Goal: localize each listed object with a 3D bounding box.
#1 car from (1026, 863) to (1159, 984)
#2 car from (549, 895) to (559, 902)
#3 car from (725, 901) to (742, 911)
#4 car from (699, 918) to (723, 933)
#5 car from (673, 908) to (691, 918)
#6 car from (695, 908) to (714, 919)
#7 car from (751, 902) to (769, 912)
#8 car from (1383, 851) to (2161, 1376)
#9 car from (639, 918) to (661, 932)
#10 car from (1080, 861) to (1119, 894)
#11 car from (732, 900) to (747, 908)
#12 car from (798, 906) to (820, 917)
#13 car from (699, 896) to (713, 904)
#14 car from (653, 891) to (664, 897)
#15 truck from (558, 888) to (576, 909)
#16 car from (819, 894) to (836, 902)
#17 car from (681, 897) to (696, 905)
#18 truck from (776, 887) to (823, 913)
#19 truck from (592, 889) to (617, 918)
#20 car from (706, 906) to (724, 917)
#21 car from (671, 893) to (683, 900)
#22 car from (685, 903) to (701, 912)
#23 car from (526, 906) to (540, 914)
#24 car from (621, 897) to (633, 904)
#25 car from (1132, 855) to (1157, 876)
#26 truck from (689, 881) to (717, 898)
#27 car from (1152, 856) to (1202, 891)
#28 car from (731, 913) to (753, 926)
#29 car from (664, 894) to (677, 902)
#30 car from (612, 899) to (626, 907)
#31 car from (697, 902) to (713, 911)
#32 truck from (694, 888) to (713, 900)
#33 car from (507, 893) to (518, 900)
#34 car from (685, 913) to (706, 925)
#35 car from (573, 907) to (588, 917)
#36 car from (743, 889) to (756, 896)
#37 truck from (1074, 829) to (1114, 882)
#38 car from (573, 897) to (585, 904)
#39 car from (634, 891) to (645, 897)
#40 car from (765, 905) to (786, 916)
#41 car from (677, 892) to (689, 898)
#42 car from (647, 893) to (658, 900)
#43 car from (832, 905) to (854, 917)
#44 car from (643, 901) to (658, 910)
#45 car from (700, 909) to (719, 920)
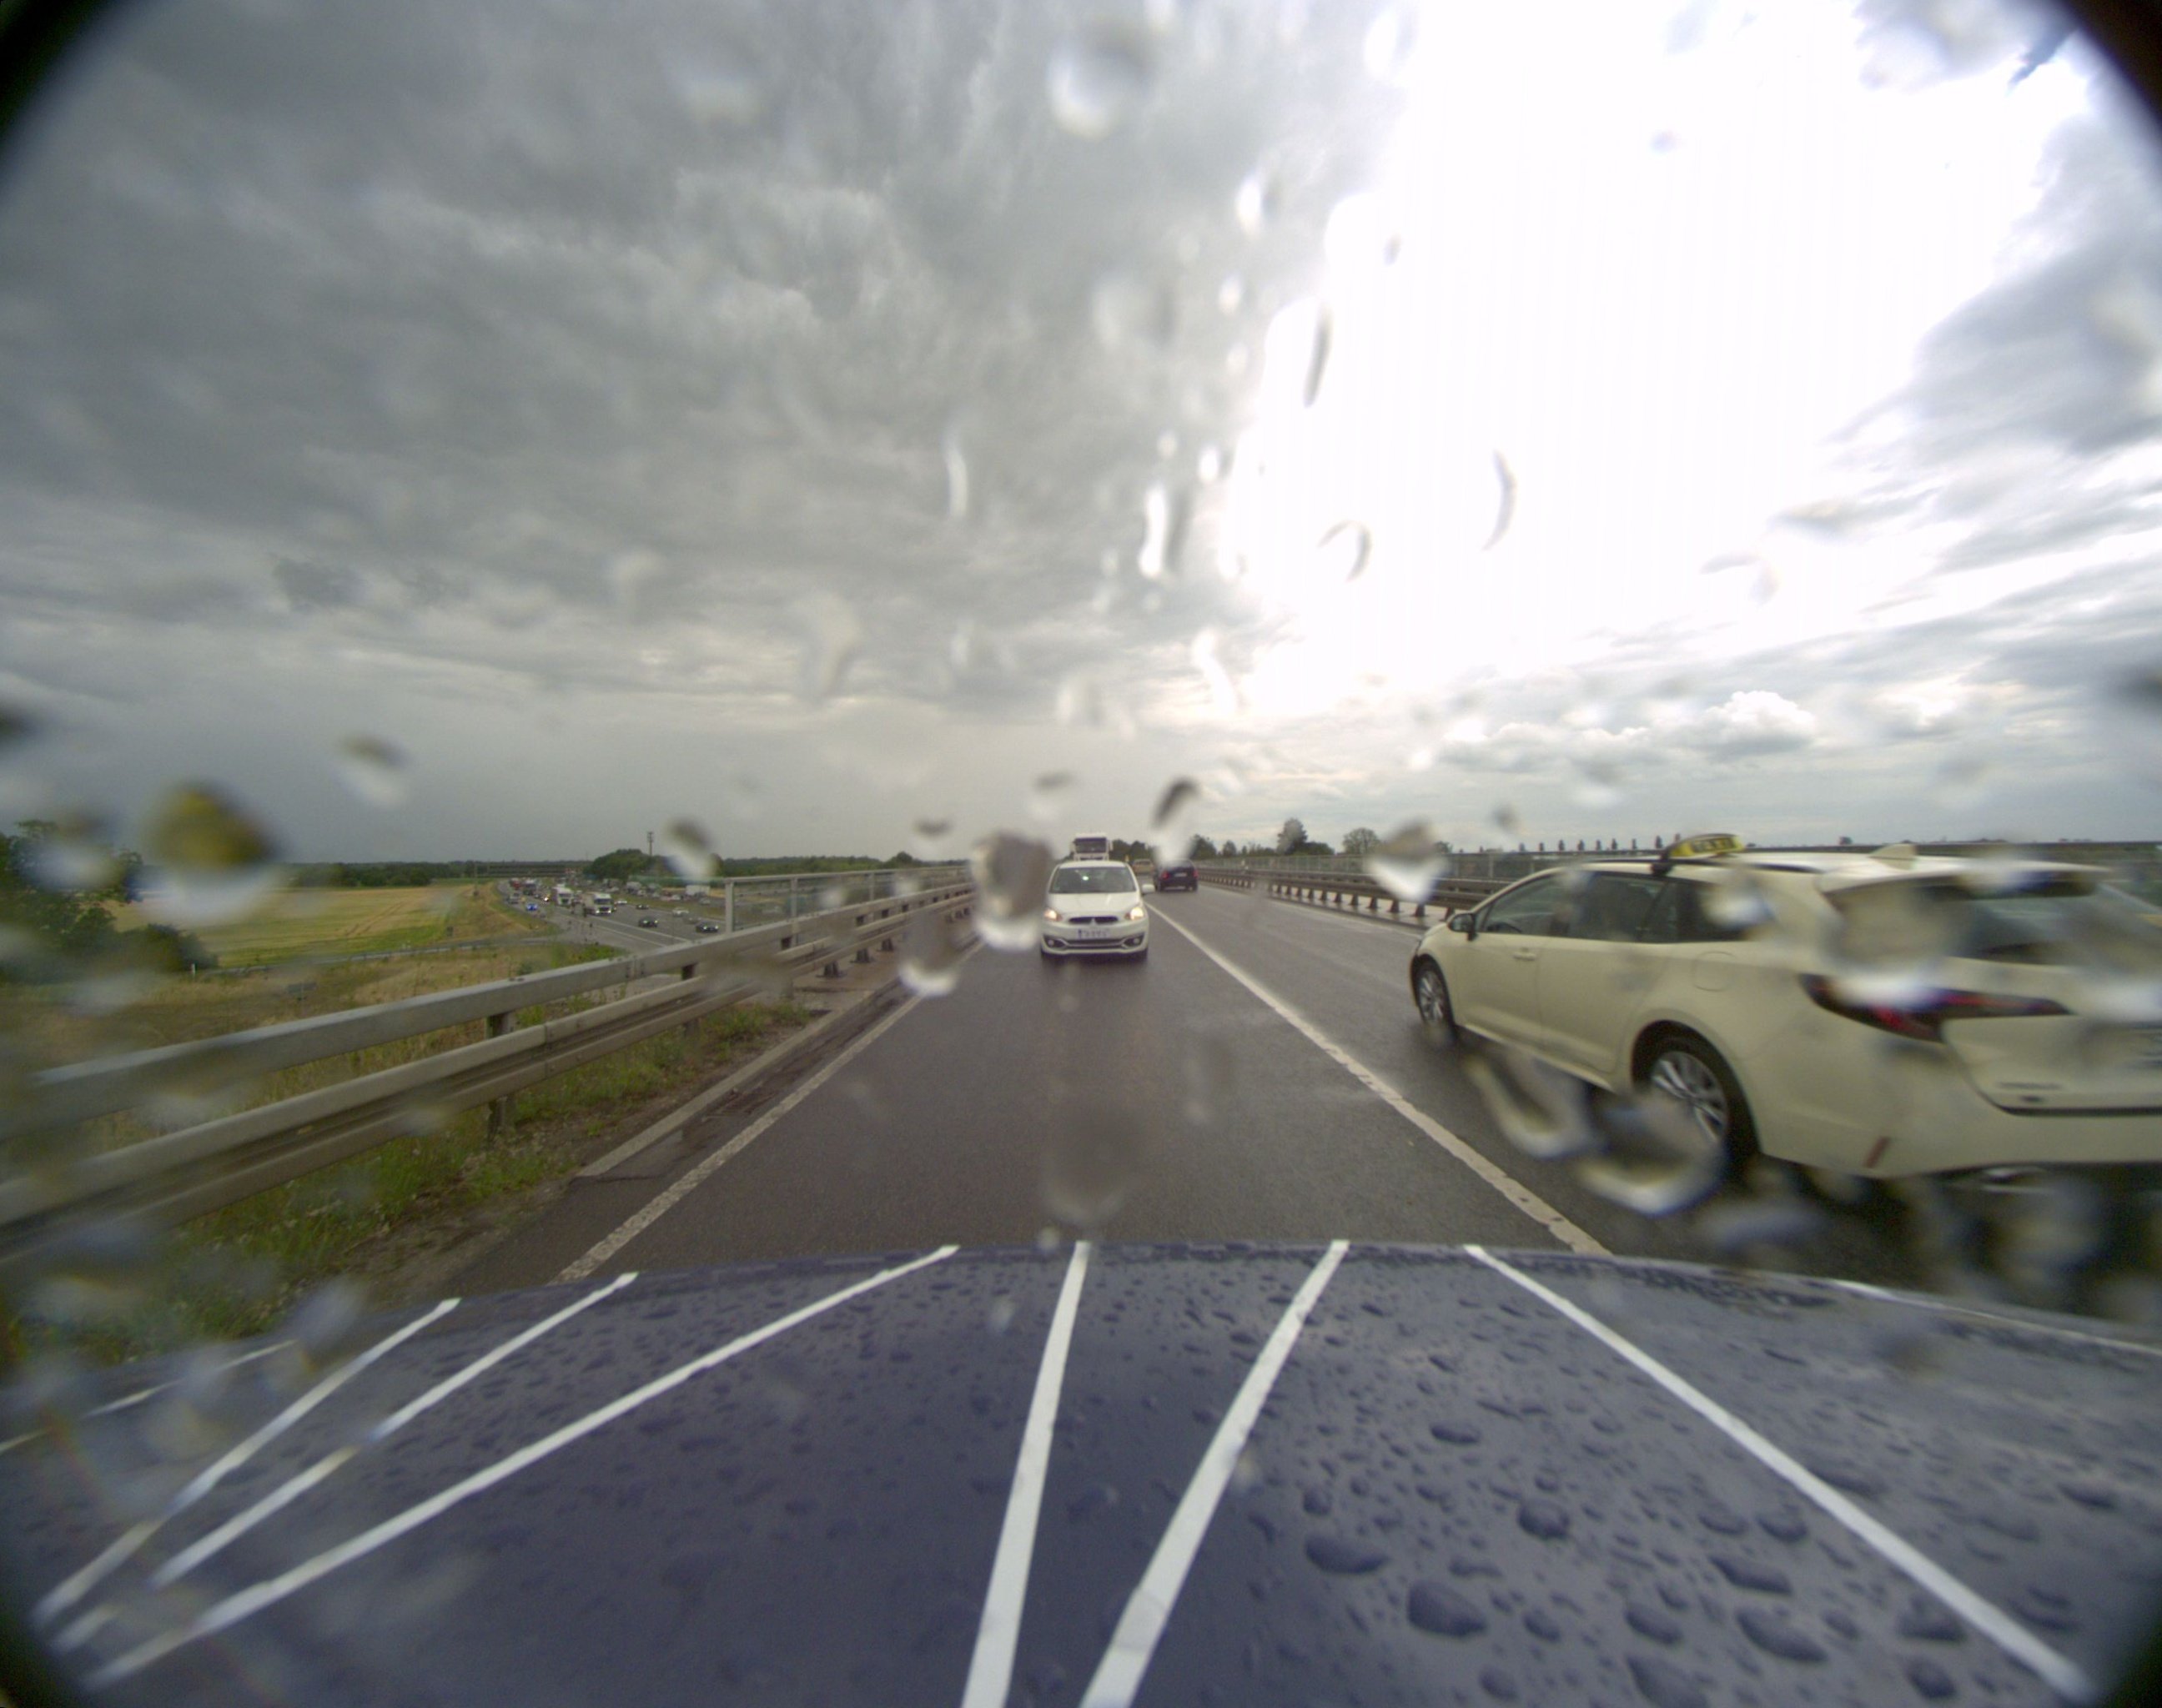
[{"bbox_3d":[0.168,0.937,12.001,1.675,1.476,4.129,-2,0,0],"label":"car"},{"bbox_3d":[-138.495,11.806,199.649,1.860,1.659,4.712,-2,0,-40],"label":"car"},{"bbox_3d":[-70.362,10.482,153.648,1.860,1.659,4.712,-2,0,-40],"label":"car"},{"bbox_3d":[-51.130,9.856,104.885,1.860,1.659,4.712,-2,0,-40],"label":"car"},{"bbox_3d":[-73.726,10.896,140.425,1.860,1.659,4.712,-2,0,-40],"label":"car"},{"bbox_3d":[-68.577,10.804,138.315,1.860,1.659,4.712,-2,0,-40],"label":"car"},{"bbox_3d":[-63.205,10.396,149.520,1.860,1.659,4.712,-2,0,-40],"label":"car"},{"bbox_3d":[3.623,0.781,4.561,1.814,1.500,4.611,-2,0,1],"label":"car"},{"bbox_3d":[-64.184,10.515,113.129,1.860,1.659,4.712,-2,0,-40],"label":"car"},{"bbox_3d":[0.832,1.036,35.480,1.675,1.366,4.129,-2,0,0],"label":"car"},{"bbox_3d":[-74.243,10.830,165.128,1.860,1.659,4.712,-2,0,-40],"label":"car"},{"bbox_3d":[-47.234,9.947,132.078,1.860,1.659,4.712,-2,0,-42],"label":"car"},{"bbox_3d":[-89.042,10.904,180.402,1.860,1.659,4.712,-2,0,-40],"label":"car"},{"bbox_3d":[-122.383,11.590,219.928,1.860,1.659,4.712,-2,0,-40],"label":"car"},{"bbox_3d":[-122.023,10.405,180.311,2.799,4.590,12.725,-3,0,-37],"label":"truck"},{"bbox_3d":[-58.255,10.171,174.516,1.860,1.659,4.712,-2,0,-40],"label":"car"},{"bbox_3d":[-91.246,10.920,176.632,1.860,1.659,4.712,-2,0,-40],"label":"car"},{"bbox_3d":[-54.876,8.781,147.698,3.611,4.510,15.590,-3,0,-39],"label":"truck"},{"bbox_3d":[-89.988,9.263,143.443,2.799,4.871,12.725,-3,0,-37],"label":"truck"},{"bbox_3d":[-68.255,10.726,141.507,1.860,1.659,4.712,-2,0,-40],"label":"car"},{"bbox_3d":[-107.251,11.277,201.765,1.860,1.659,4.712,-2,0,-40],"label":"car"},{"bbox_3d":[-78.523,10.833,153.611,1.860,1.659,4.712,-2,0,-40],"label":"car"},{"bbox_3d":[-114.248,11.614,158.364,1.818,1.427,4.712,-2,0,-41],"label":"car"},{"bbox_3d":[-111.474,11.430,186.489,1.860,1.659,4.712,-2,0,-40],"label":"car"},{"bbox_3d":[5.251,0.947,63.377,1.718,1.508,3.859,-2,1,0],"label":"car"},{"bbox_3d":[-106.621,9.874,214.080,3.611,4.510,15.590,-3,0,-39],"label":"truck"},{"bbox_3d":[4.327,0.832,34.847,1.701,1.424,4.323,-2,0,0],"label":"car"},{"bbox_3d":[-52.762,10.179,118.318,1.860,1.659,4.712,-2,0,-40],"label":"car"},{"bbox_3d":[-104.390,11.149,193.109,1.860,1.659,4.712,-2,0,-40],"label":"car"},{"bbox_3d":[-107.299,11.332,176.410,1.860,1.659,4.712,-2,0,-40],"label":"car"},{"bbox_3d":[-76.933,10.780,155.401,1.860,1.659,4.712,-2,0,-40],"label":"car"},{"bbox_3d":[-98.184,10.323,197.736,2.216,2.948,9.284,-3,0,-40],"label":"truck"},{"bbox_3d":[-148.071,11.135,197.950,1.860,1.659,4.712,-2,0,-40],"label":"car"},{"bbox_3d":[-61.615,10.355,121.320,1.860,1.659,4.712,-2,0,-40],"label":"car"},{"bbox_3d":[-99.876,11.598,151.566,1.860,1.659,4.712,-2,0,-40],"label":"car"},{"bbox_3d":[-94.428,10.952,216.414,1.860,1.659,4.712,-2,0,-40],"label":"car"},{"bbox_3d":[0.860,-0.032,56.552,2.631,3.536,8.475,-2,2,-1],"label":"truck"},{"bbox_3d":[-124.609,11.601,188.741,1.860,1.659,4.712,-2,0,-40],"label":"car"},{"bbox_3d":[-129.770,11.767,223.334,1.860,1.659,4.712,-2,0,-40],"label":"car"},{"bbox_3d":[-54.185,10.075,134.813,1.860,1.659,4.712,-2,0,-42],"label":"car"},{"bbox_3d":[-111.781,11.483,213.426,1.860,1.659,4.712,-2,0,-40],"label":"car"},{"bbox_3d":[-117.411,11.690,208.151,1.860,1.659,4.712,-2,0,-40],"label":"car"},{"bbox_3d":[-40.893,9.771,130.580,1.860,1.659,4.712,-2,0,-40],"label":"car"},{"bbox_3d":[-94.716,11.322,167.085,1.860,1.659,4.712,-2,0,-40],"label":"car"},{"bbox_3d":[-65.101,10.519,133.102,1.860,1.659,4.712,-2,0,-40],"label":"car"}]
